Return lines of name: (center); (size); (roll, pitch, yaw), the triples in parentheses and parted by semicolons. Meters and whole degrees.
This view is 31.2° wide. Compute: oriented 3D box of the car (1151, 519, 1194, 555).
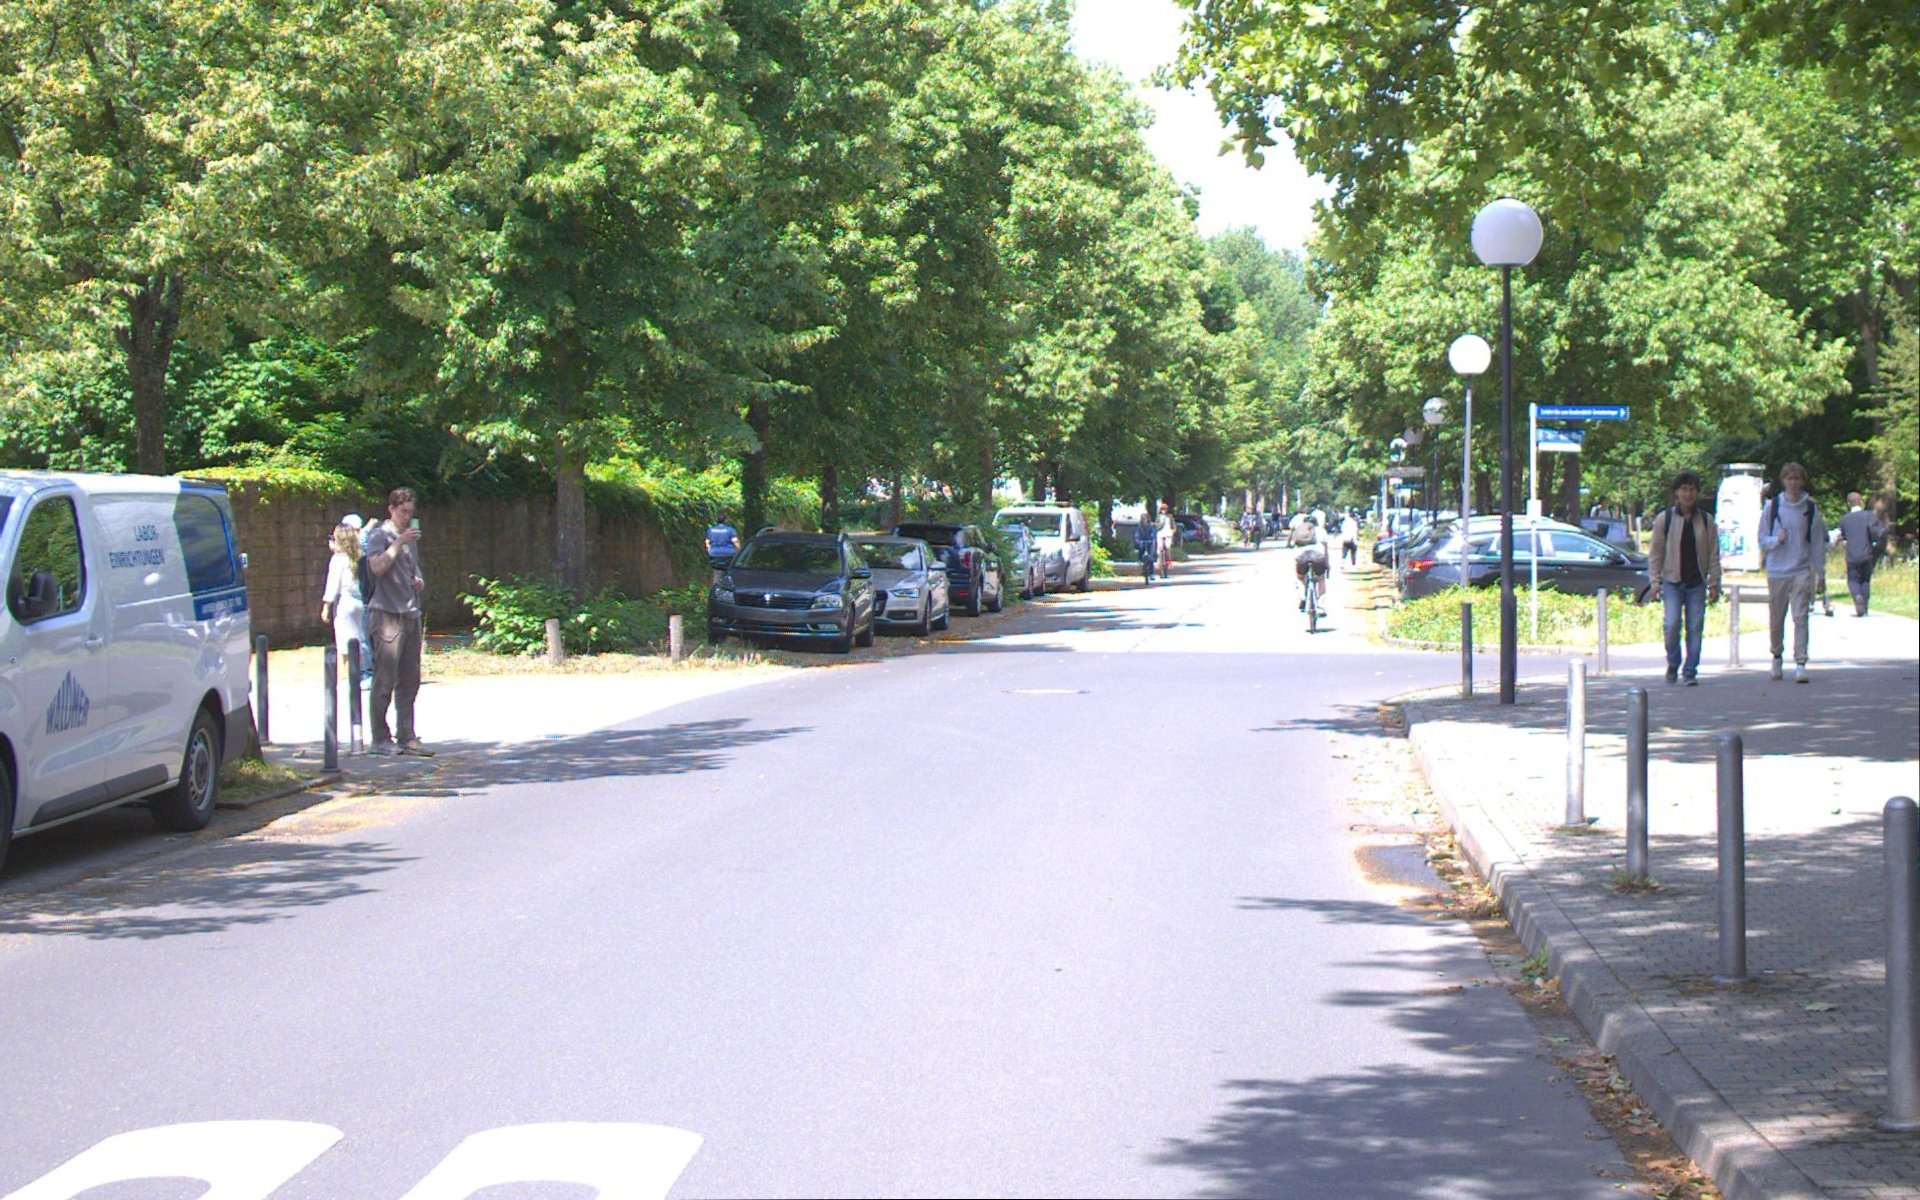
car: (8.230, -2.445, 132.751); (1.616, 1.360, 4.562); (0, 1, 4)

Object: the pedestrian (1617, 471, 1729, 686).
pedestrian: (6.001, -0.186, 28.906); (0.821, 1.749, 0.840); (-3, 1, 13)

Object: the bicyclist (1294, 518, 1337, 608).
bicyclist: (5.153, -0.538, 49.867); (0.609, 1.291, 0.611); (0, 1, 5)

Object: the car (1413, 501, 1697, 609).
car: (9.302, -0.712, 54.014); (4.257, 1.582, 1.810); (-1, 1, 7)

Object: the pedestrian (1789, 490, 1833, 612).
pedestrian: (12.301, -0.709, 49.722); (0.601, 1.749, 0.628); (0, 1, 12)

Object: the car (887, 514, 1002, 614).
car: (-0.233, -0.646, 59.661); (1.616, 1.673, 3.999); (0, 1, 5)

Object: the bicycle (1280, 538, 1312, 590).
bicycle: (6.604, -0.719, 67.589); (0.614, 0.997, 1.423); (0, 1, 5)

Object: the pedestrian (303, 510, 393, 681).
pedestrian: (-6.004, -0.055, 33.721); (0.627, 1.657, 0.603); (-1, 2, -43)

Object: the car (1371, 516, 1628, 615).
car: (9.209, -0.604, 58.939); (4.257, 1.582, 1.810); (-1, 1, 7)

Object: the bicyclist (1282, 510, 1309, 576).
bicyclist: (6.585, -1.122, 67.513); (0.522, 1.291, 0.611); (0, 1, 5)

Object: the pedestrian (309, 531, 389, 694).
pedestrian: (-5.770, 0.106, 32.456); (0.584, 1.521, 0.494); (-1, 1, -34)

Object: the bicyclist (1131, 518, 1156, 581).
bicyclist: (4.389, -1.213, 82.051); (0.563, 1.493, 0.827); (0, 1, 5)

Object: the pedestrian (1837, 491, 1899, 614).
pedestrian: (13.056, -0.685, 49.459); (0.821, 1.749, 0.628); (0, 1, 12)

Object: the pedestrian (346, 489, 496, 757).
pedestrian: (-3.792, 0.148, 24.213); (0.725, 1.850, 0.790); (0, 1, 23)

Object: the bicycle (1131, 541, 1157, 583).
bicycle: (4.390, -0.907, 82.006); (0.577, 0.997, 1.423); (0, 1, 5)

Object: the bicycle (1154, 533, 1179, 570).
bicycle: (5.531, -1.302, 91.966); (0.614, 0.997, 1.423); (0, 1, 5)

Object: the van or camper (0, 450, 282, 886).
van or camper: (-5.055, 0.244, 16.971); (1.954, 1.916, 5.419); (1, 1, 4)

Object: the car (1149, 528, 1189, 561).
car: (8.883, -2.377, 145.891); (1.616, 1.360, 4.000); (0, 1, 4)

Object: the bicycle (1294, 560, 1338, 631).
bicycle: (5.161, -0.075, 49.862); (0.614, 0.997, 1.423); (0, 1, 5)

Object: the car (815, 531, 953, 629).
car: (-1.087, -0.320, 51.021); (1.616, 1.383, 3.999); (0, 1, 5)

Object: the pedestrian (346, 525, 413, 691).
pedestrian: (-5.609, 0.069, 33.213); (0.494, 1.580, 0.494); (-1, 1, -28)

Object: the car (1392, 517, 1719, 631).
car: (8.464, -0.382, 49.179); (4.486, 1.520, 1.810); (-1, 1, 7)

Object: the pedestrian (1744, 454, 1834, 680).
pedestrian: (6.956, -0.279, 28.881); (0.672, 1.866, 0.792); (0, 1, 9)

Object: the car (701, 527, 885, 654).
car: (-2.057, -0.155, 43.347); (1.760, 1.516, 4.111); (0, 1, 5)

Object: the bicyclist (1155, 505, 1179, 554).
bicyclist: (5.537, -1.889, 92.002); (0.608, 1.291, 0.611); (0, 1, 5)

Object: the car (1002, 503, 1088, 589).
car: (1.871, -1.194, 74.828); (1.616, 1.809, 3.999); (0, 1, 5)
